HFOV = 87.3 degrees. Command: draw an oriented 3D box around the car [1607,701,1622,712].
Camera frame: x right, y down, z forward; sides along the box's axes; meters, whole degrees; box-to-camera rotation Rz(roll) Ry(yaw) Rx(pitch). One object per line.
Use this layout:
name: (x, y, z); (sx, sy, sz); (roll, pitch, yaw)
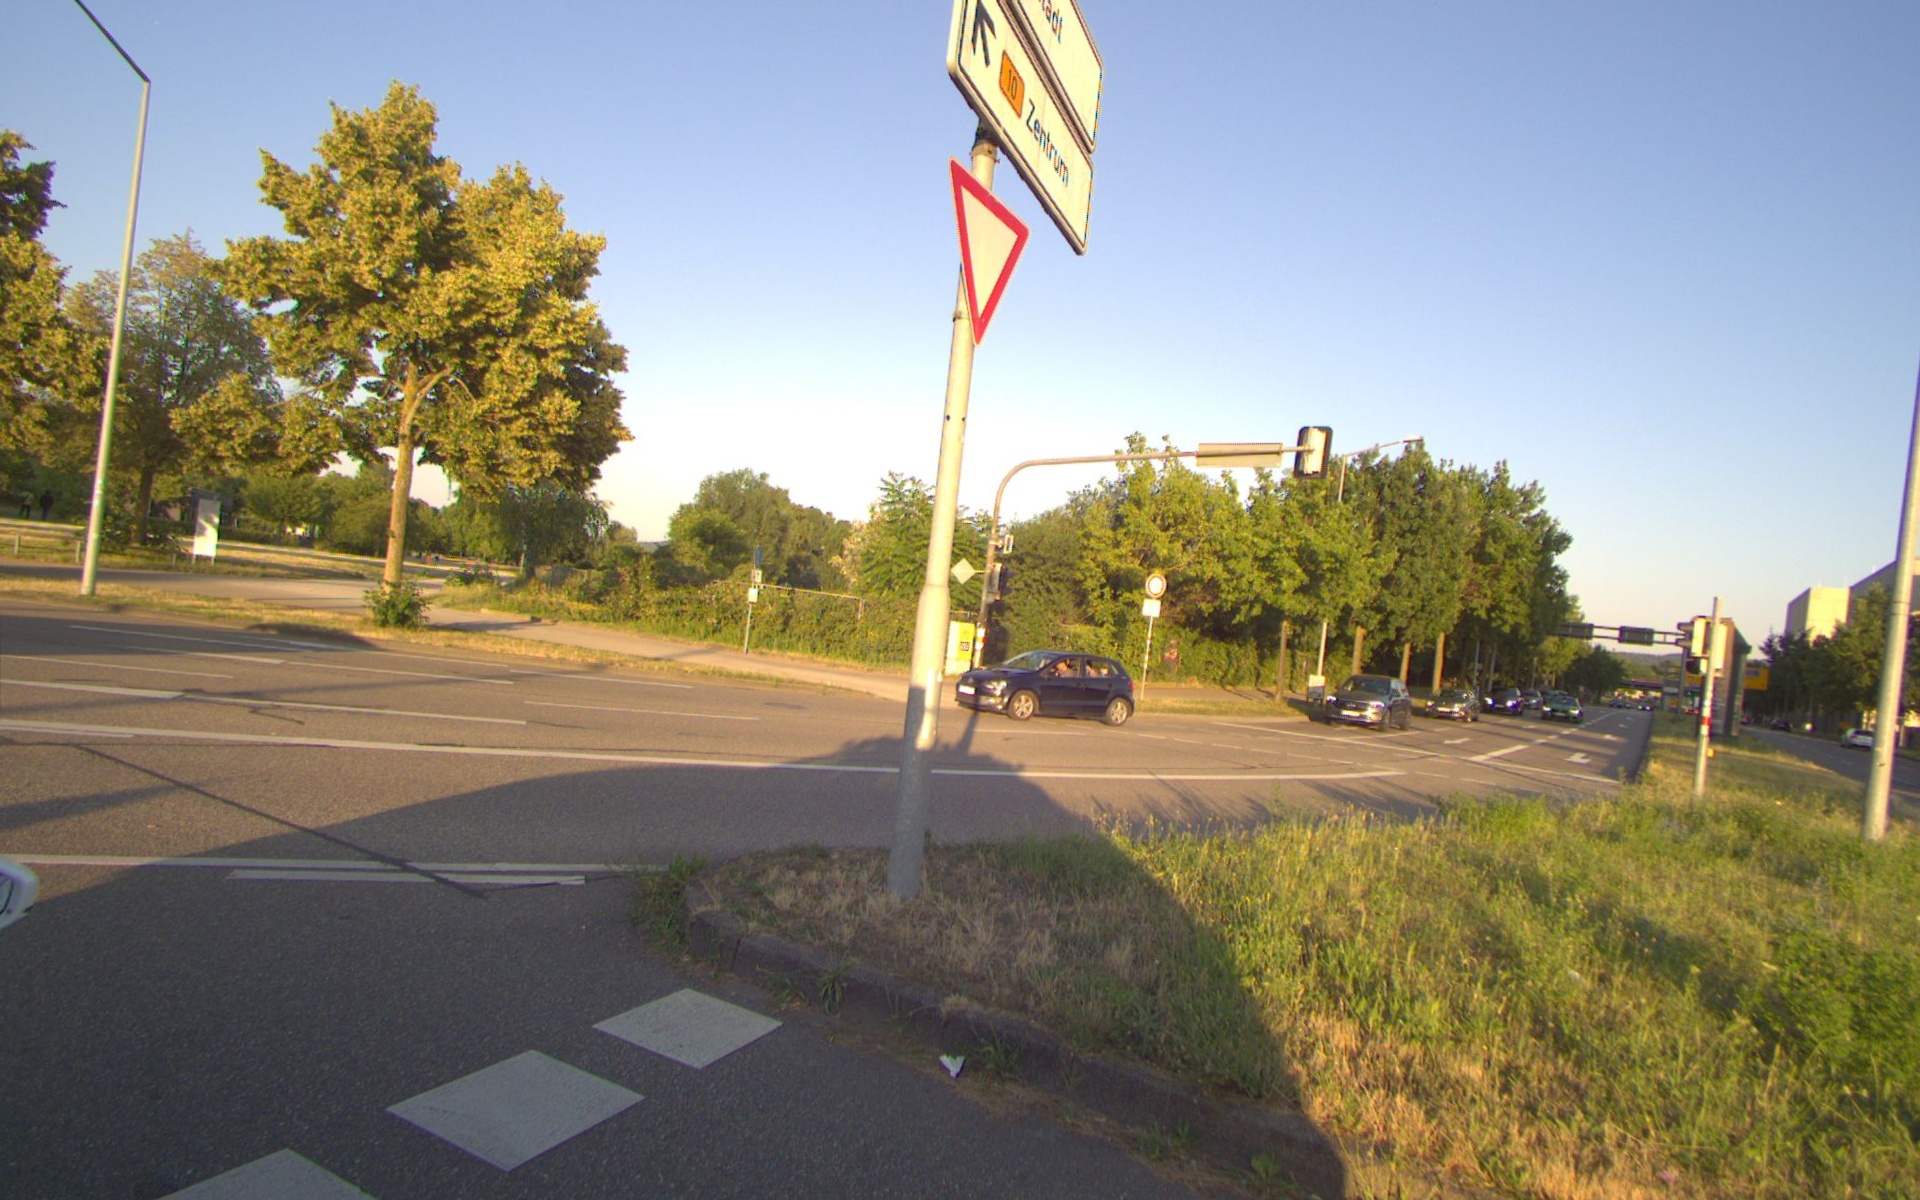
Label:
car: (112.000, 18.139, 172.112); (1.885, 1.602, 4.171); (7, -1, 33)

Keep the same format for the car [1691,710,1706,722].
car: (126.877, 19.919, 172.873); (1.969, 1.804, 3.988); (7, -1, 37)

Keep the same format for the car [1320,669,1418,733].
car: (12.841, 3.120, 31.398); (1.968, 1.657, 4.517); (4, -2, 32)

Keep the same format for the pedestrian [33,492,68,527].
pedestrian: (-48.943, -4.867, 54.141); (0.896, 1.637, 1.070); (7, 0, 34)

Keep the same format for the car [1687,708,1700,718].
car: (150.270, 23.106, 206.053); (1.969, 1.804, 3.988); (7, -1, 37)

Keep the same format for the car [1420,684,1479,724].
car: (22.244, 4.683, 45.602); (1.855, 1.481, 4.662); (7, -1, 32)

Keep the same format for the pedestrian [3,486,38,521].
pedestrian: (-49.729, -5.105, 53.272); (0.896, 1.637, 1.070); (7, 0, 34)

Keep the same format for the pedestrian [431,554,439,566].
pedestrian: (-80.051, -6.095, 153.378); (0.848, 1.681, 0.968); (7, 0, -39)

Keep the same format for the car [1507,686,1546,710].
car: (40.982, 7.093, 72.723); (1.840, 1.406, 4.149); (7, -1, 37)

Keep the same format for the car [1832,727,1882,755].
car: (64.064, 10.057, 71.900); (1.969, 1.527, 5.171); (7, -1, 36)

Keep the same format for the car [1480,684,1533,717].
car: (32.560, 6.005, 59.901); (1.970, 1.592, 4.400); (7, -1, 38)

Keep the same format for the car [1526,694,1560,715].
car: (48.174, 8.632, 83.088); (1.839, 1.406, 4.150); (7, -1, 36)

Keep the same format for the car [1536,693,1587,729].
car: (34.610, 6.365, 57.947); (1.965, 1.598, 4.481); (9, 0, 27)

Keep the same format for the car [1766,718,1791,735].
car: (94.506, 14.600, 116.140); (1.972, 1.593, 3.983); (7, -1, 41)

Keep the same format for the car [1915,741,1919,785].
car: (33.782, 5.496, 33.383); (2.035, 1.970, 4.949); (7, -1, 34)

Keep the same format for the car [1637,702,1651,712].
car: (131.301, 20.538, 193.176); (1.969, 1.523, 4.758); (7, -1, 35)

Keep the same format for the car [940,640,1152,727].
car: (1.758, 1.688, 20.185); (3.959, 1.369, 1.681); (7, -3, -32)
